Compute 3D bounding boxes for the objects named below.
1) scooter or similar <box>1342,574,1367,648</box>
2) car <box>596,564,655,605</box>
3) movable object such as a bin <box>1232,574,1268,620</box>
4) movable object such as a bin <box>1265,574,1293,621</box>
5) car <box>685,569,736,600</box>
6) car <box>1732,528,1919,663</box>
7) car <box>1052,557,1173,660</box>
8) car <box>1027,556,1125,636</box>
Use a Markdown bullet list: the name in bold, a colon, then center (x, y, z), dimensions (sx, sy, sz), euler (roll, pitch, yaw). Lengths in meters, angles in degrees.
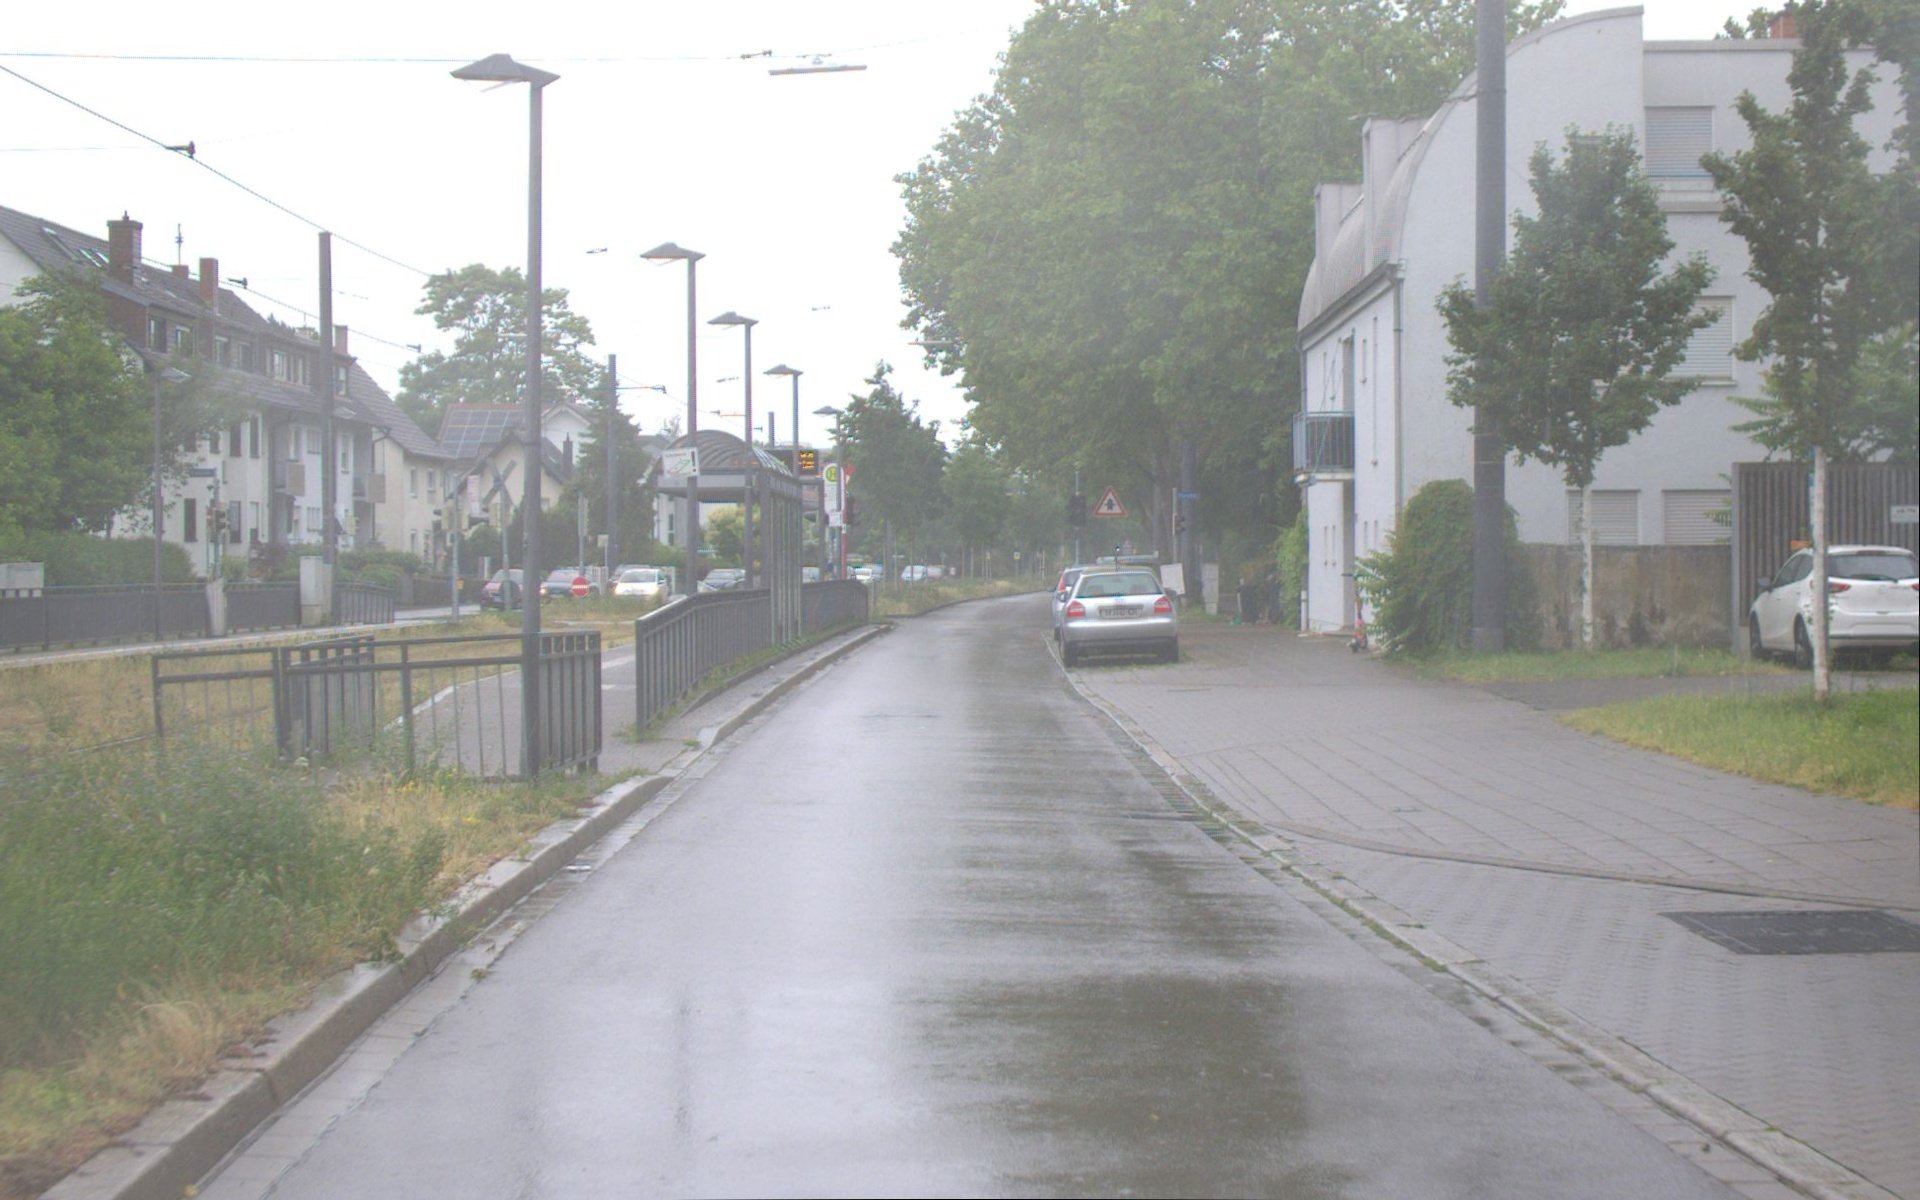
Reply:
- **scooter or similar**: center (5.875, 0.157, 51.206), dimensions (0.333, 1.081, 1.395), euler (1, 0, 6)
- **car**: center (-12.287, -0.560, 126.428), dimensions (1.633, 1.488, 4.000), euler (1, 0, 2)
- **movable object such as a bin**: center (6.560, -0.074, 77.807), dimensions (0.692, 1.018, 0.824), euler (-2, 0, 0)
- **movable object such as a bin**: center (7.151, -0.063, 77.100), dimensions (0.536, 1.018, 0.739), euler (-2, 0, 0)
- **car**: center (-12.408, -0.776, 171.207), dimensions (1.928, 1.481, 3.999), euler (1, 0, 4)
- **car**: center (10.786, -0.093, 41.746), dimensions (1.963, 1.529, 4.363), euler (1, 1, 2)
- **car**: center (2.286, 0.129, 52.381), dimensions (1.650, 1.400, 4.649), euler (-3, 0, 1)
- **car**: center (2.293, -0.074, 68.617), dimensions (1.807, 1.462, 3.794), euler (-3, 0, 1)
